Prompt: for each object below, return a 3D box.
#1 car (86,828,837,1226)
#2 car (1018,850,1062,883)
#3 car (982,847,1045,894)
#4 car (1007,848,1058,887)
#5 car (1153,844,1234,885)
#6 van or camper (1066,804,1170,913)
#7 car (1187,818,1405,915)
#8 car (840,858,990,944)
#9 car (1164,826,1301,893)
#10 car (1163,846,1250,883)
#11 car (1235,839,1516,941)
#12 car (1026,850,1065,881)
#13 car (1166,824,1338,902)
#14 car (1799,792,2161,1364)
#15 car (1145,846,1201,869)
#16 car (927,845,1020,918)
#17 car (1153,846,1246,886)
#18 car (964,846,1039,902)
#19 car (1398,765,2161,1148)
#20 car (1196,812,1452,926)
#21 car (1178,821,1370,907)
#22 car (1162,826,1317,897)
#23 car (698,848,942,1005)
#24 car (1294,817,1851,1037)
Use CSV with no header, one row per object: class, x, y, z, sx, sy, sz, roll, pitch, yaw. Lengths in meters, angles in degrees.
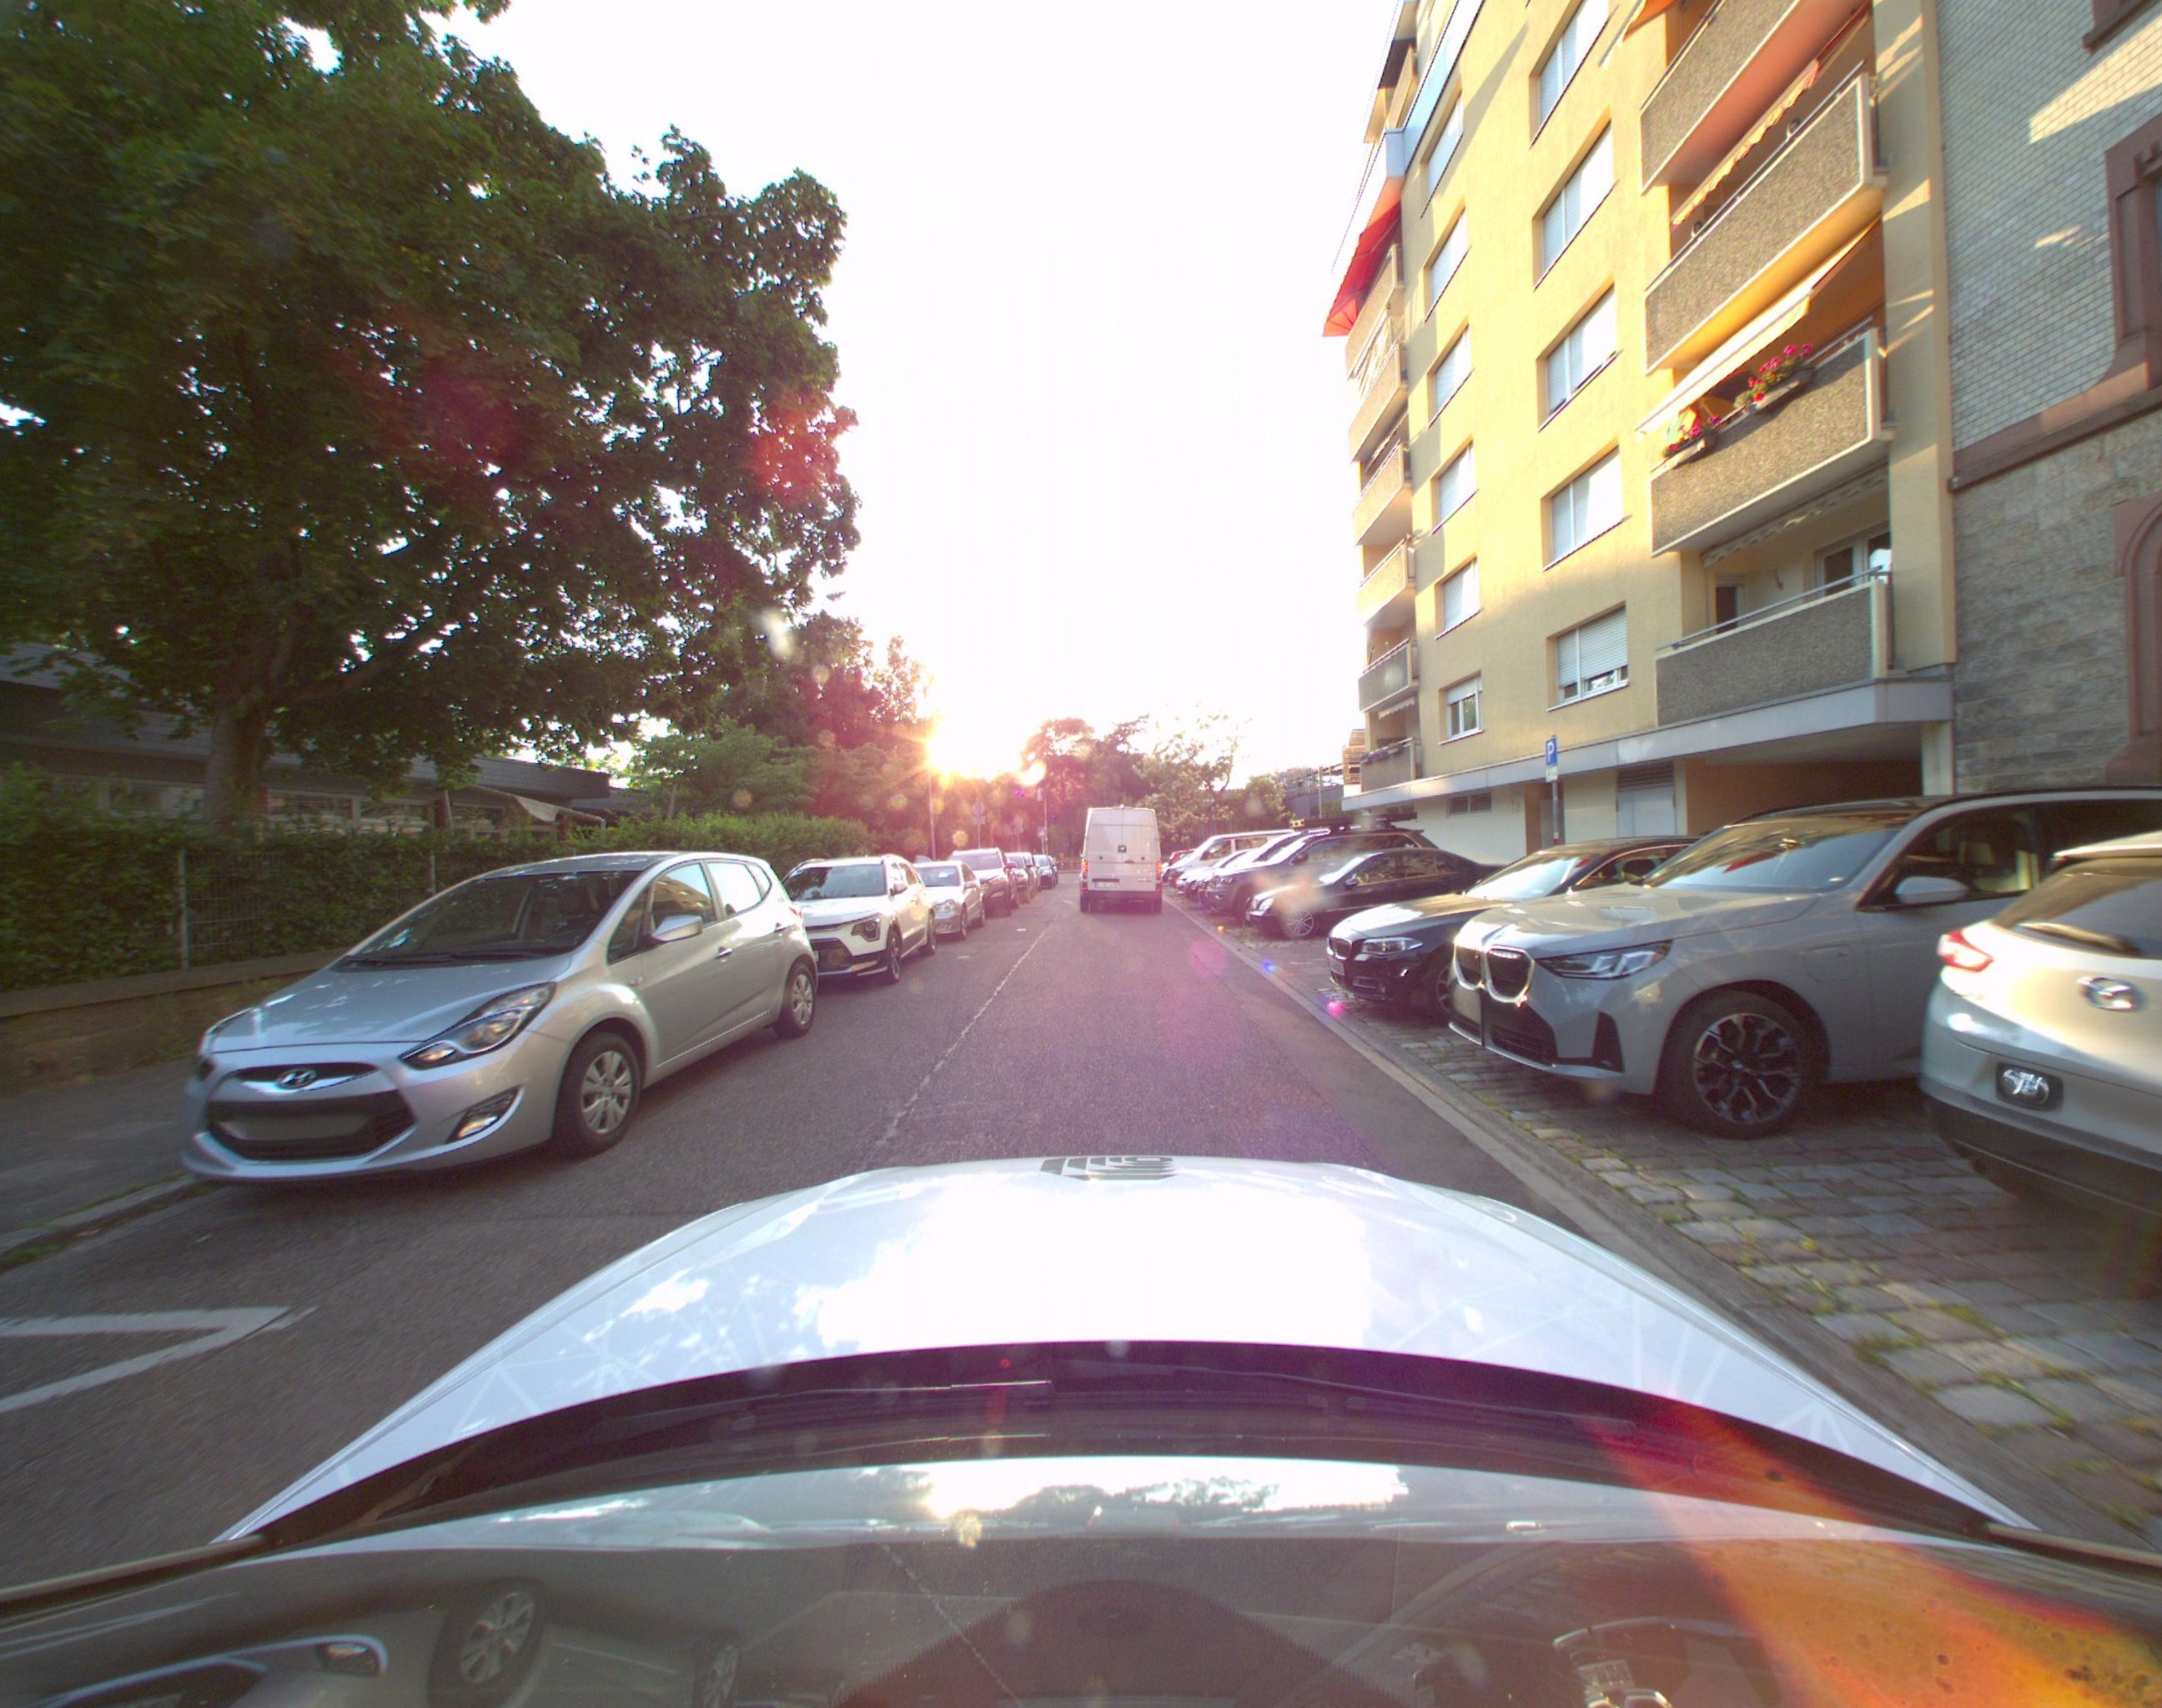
car,-3.313,0.753,5.538,1.775,1.631,4.004,-4,0,4
car,-2.049,0.600,41.718,1.987,1.618,4.000,-1,0,0
car,-2.448,0.578,30.488,1.987,1.618,4.000,-1,0,0
car,-2.108,0.565,36.204,1.987,1.618,4.000,-1,0,0
car,5.735,0.526,42.024,3.970,2.013,2.002,-1,0,3
van or camper,1.087,0.091,22.119,2.443,2.547,6.090,0,0,4
car,5.022,0.270,19.507,4.691,2.145,2.000,-1,0,0
car,-3.025,0.801,15.738,1.986,1.398,4.001,-1,0,1
car,5.279,0.173,28.798,4.480,2.230,2.032,-1,0,1
car,6.071,0.504,39.695,3.971,1.728,2.001,-1,0,2
car,4.976,0.584,14.182,4.222,1.425,1.719,-3,0,0
car,-1.945,0.619,45.942,1.987,1.618,4.000,-1,0,0
car,4.982,0.241,24.170,4.691,2.145,2.000,-1,0,0
car,5.176,0.523,2.581,4.427,1.595,1.769,-3,0,-5
car,6.964,0.249,61.965,3.977,1.618,1.998,-1,0,-2
car,-2.653,0.627,20.967,1.989,1.662,3.996,-1,0,-2
car,5.264,0.520,36.671,3.971,1.728,2.001,-1,0,2
car,-2.466,0.581,26.174,1.987,1.618,4.000,-1,0,0
car,4.526,0.449,5.020,4.427,1.728,1.769,-3,0,-5
car,4.867,0.287,16.801,4.691,2.145,2.000,-1,0,0
car,5.081,0.256,21.935,4.691,2.145,2.000,-1,0,0
car,5.092,0.226,26.615,4.691,2.145,2.000,-1,0,0
car,-3.102,0.757,10.649,1.851,1.555,4.098,-3,0,-1
car,4.233,0.567,7.465,3.978,1.453,1.834,-4,0,-3
